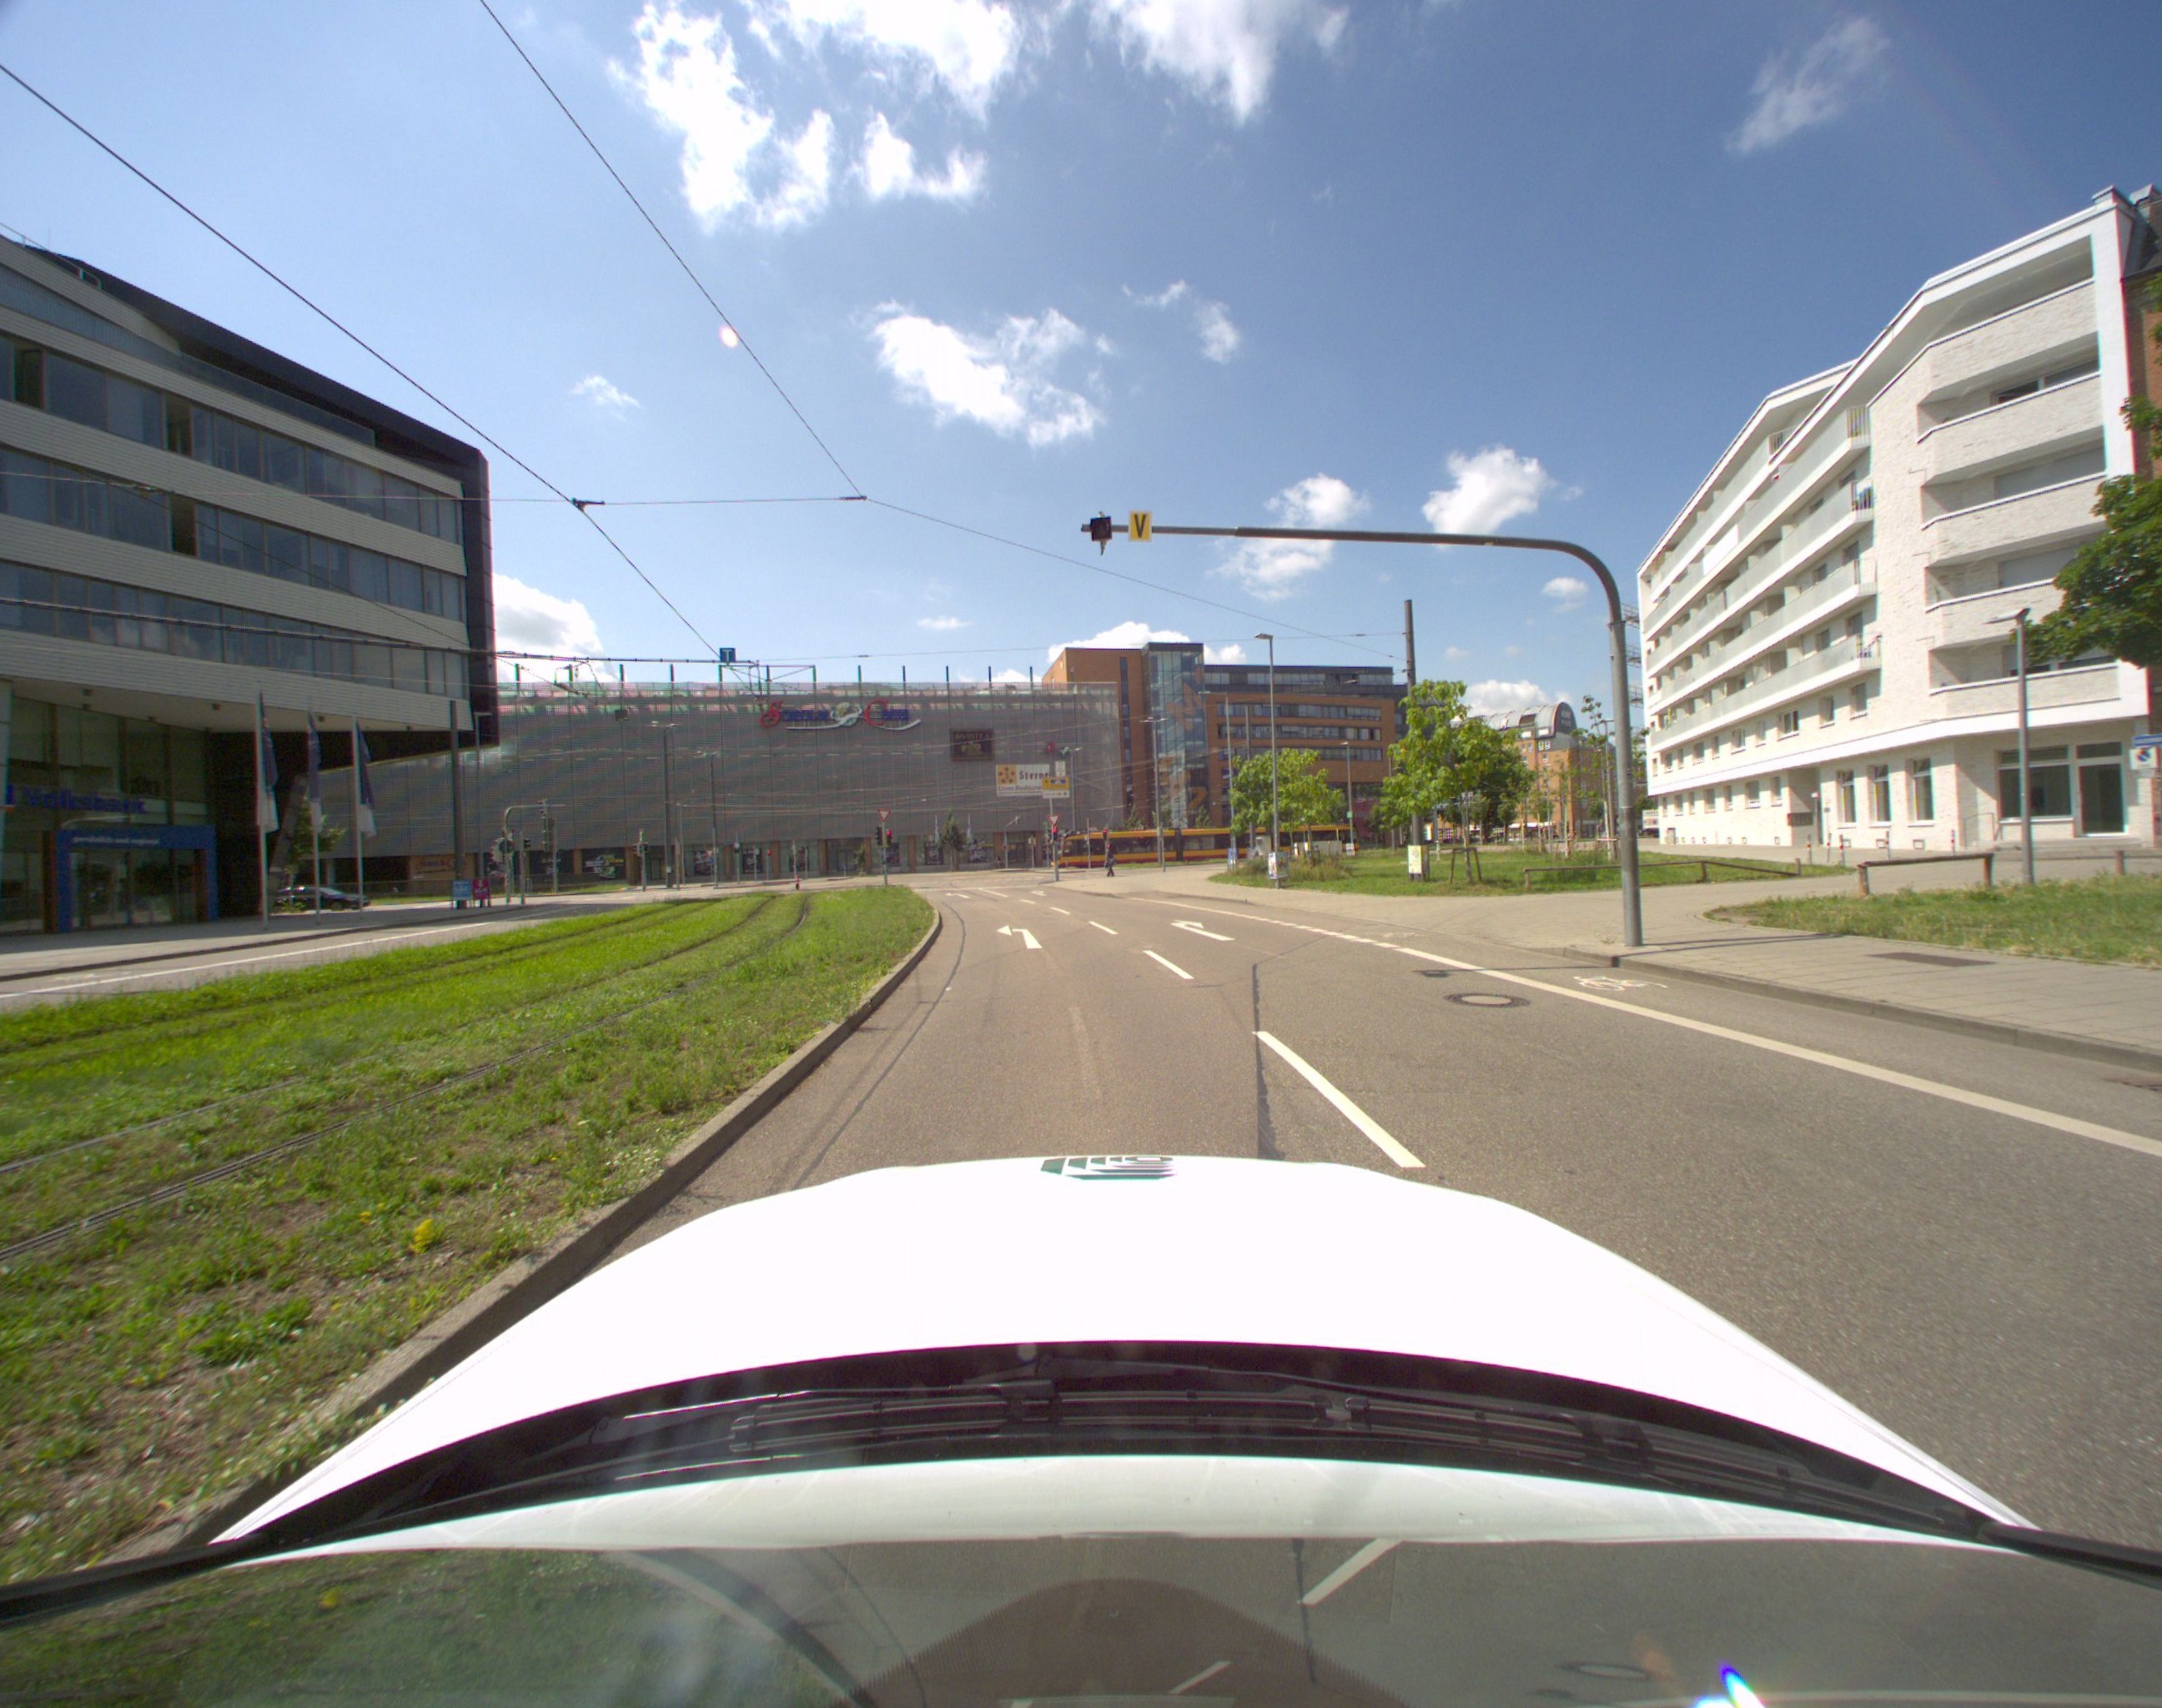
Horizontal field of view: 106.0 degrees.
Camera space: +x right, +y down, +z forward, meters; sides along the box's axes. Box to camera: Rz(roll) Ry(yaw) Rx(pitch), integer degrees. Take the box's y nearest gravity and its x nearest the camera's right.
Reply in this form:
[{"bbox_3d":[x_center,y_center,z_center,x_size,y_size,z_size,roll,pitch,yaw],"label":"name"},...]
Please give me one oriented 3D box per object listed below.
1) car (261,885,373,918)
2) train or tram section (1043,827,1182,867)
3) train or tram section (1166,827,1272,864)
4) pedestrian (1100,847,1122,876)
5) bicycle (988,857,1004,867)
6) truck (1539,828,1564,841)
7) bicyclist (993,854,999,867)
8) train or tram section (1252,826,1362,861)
[{"bbox_3d":[-42.054,2.591,44.925,4.103,1.469,1.819,-2,0,-13],"label":"car"},{"bbox_3d":[3.228,-0.688,79.187,13.523,3.599,3.200,-1,0,-25],"label":"train or tram section"},{"bbox_3d":[14.351,-0.906,84.251,11.011,3.603,3.040,-1,0,-25],"label":"train or tram section"},{"bbox_3d":[1.830,0.475,50.002,0.813,1.702,0.907,-3,-1,-42],"label":"pedestrian"},{"bbox_3d":[-10.250,0.967,98.294,1.762,1.224,0.582,-1,0,-13],"label":"bicycle"},{"bbox_3d":[80.186,-3.290,138.885,1.981,2.086,5.539,-1,0,10],"label":"truck"},{"bbox_3d":[-10.251,0.775,98.287,0.663,1.623,0.548,-1,0,-13],"label":"bicyclist"},{"bbox_3d":[24.831,-1.157,89.169,12.655,3.621,3.040,-1,0,-25],"label":"train or tram section"}]
